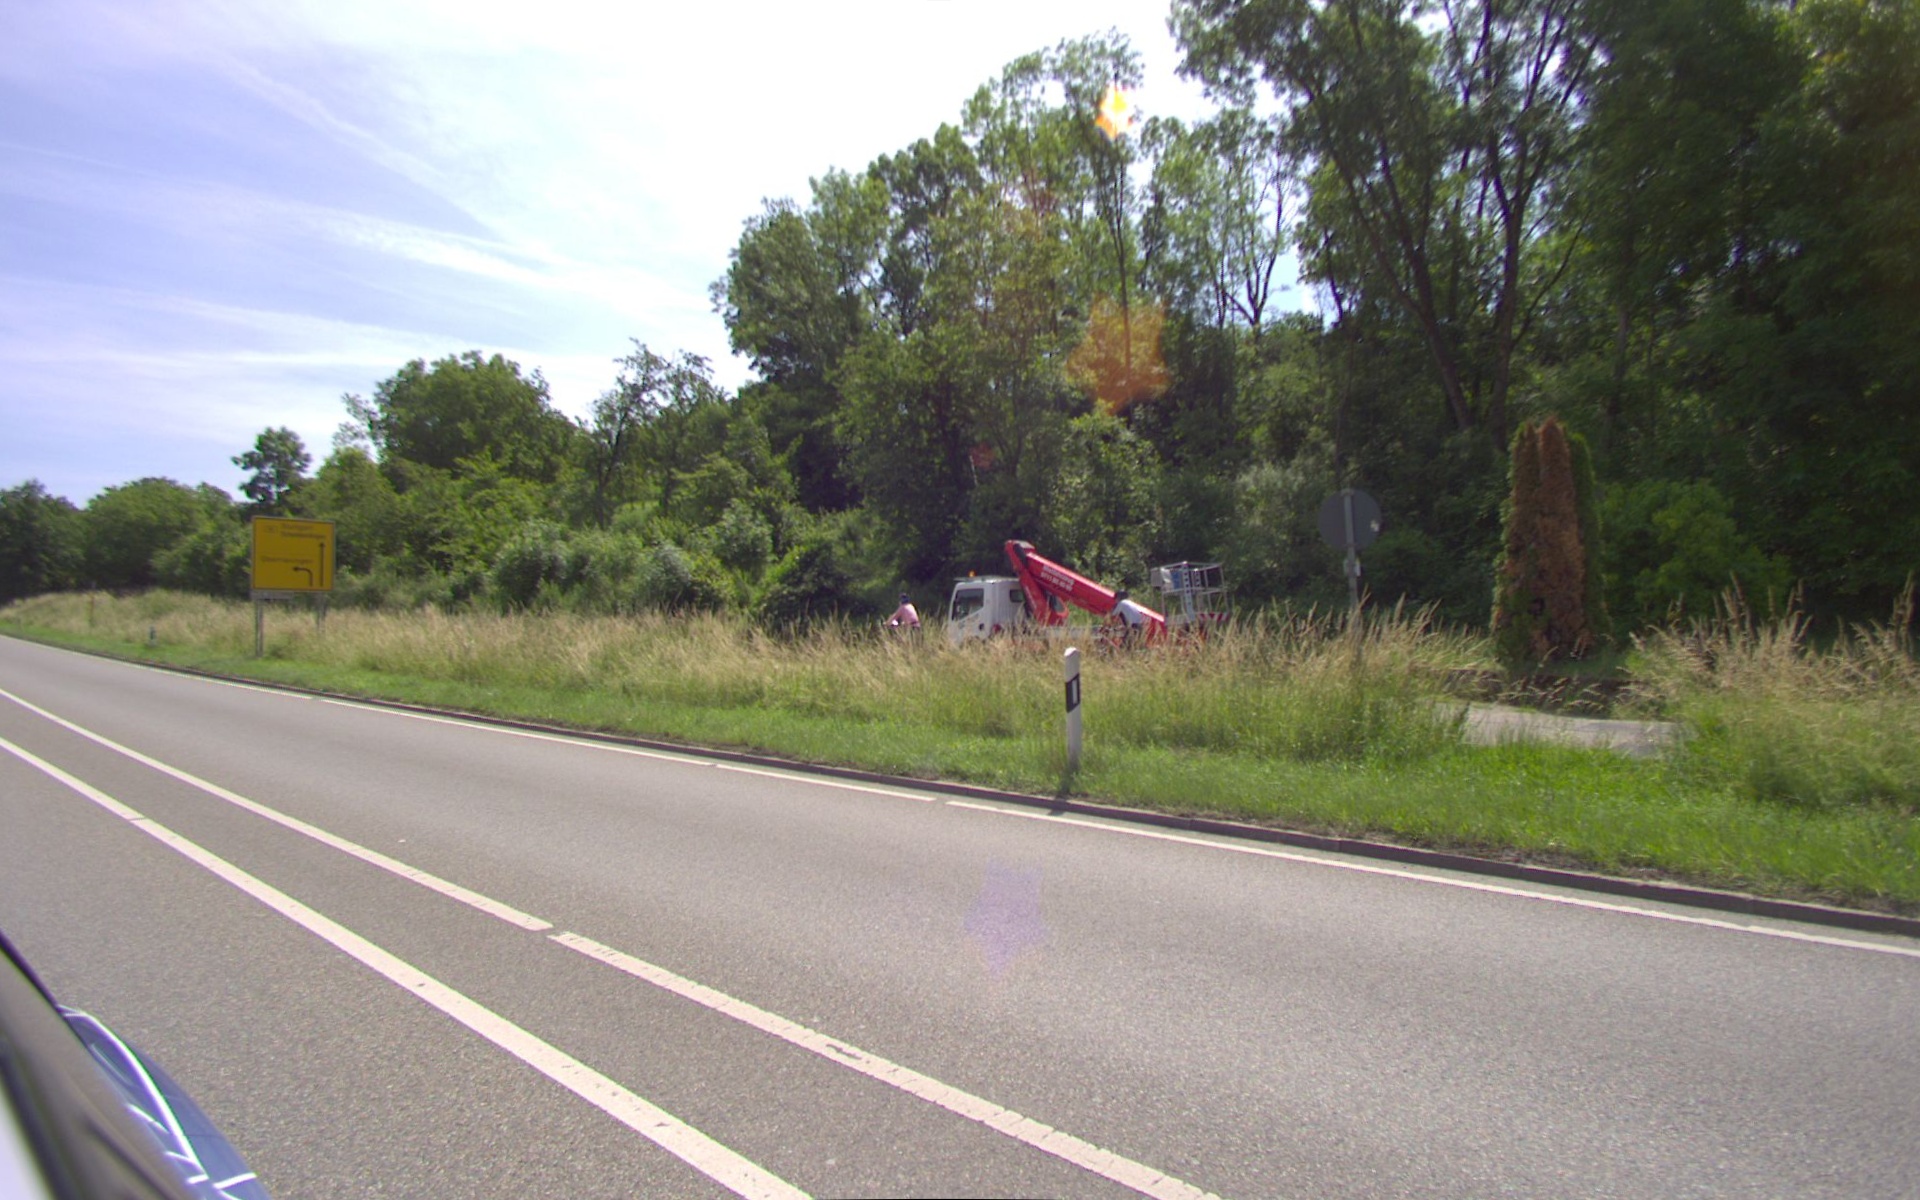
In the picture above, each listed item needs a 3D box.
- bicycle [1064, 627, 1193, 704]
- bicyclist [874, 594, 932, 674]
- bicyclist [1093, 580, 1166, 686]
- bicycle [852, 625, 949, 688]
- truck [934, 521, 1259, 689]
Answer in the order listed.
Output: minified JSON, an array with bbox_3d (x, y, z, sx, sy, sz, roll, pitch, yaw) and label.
[{"bbox_3d":[2.820,1.071,17.159,2.106,1.189,0.740,-1,0,45],"label":"bicycle"},{"bbox_3d":[-1.173,0.691,20.877,0.936,1.607,0.740,-1,0,43],"label":"bicyclist"},{"bbox_3d":[2.866,0.541,17.103,0.936,1.727,0.739,-1,0,45],"label":"bicyclist"},{"bbox_3d":[-1.244,1.144,20.954,2.105,1.221,0.740,-1,0,43],"label":"bicycle"},{"bbox_3d":[2.581,0.133,21.068,6.774,2.986,2.004,-1,0,43],"label":"truck"}]
